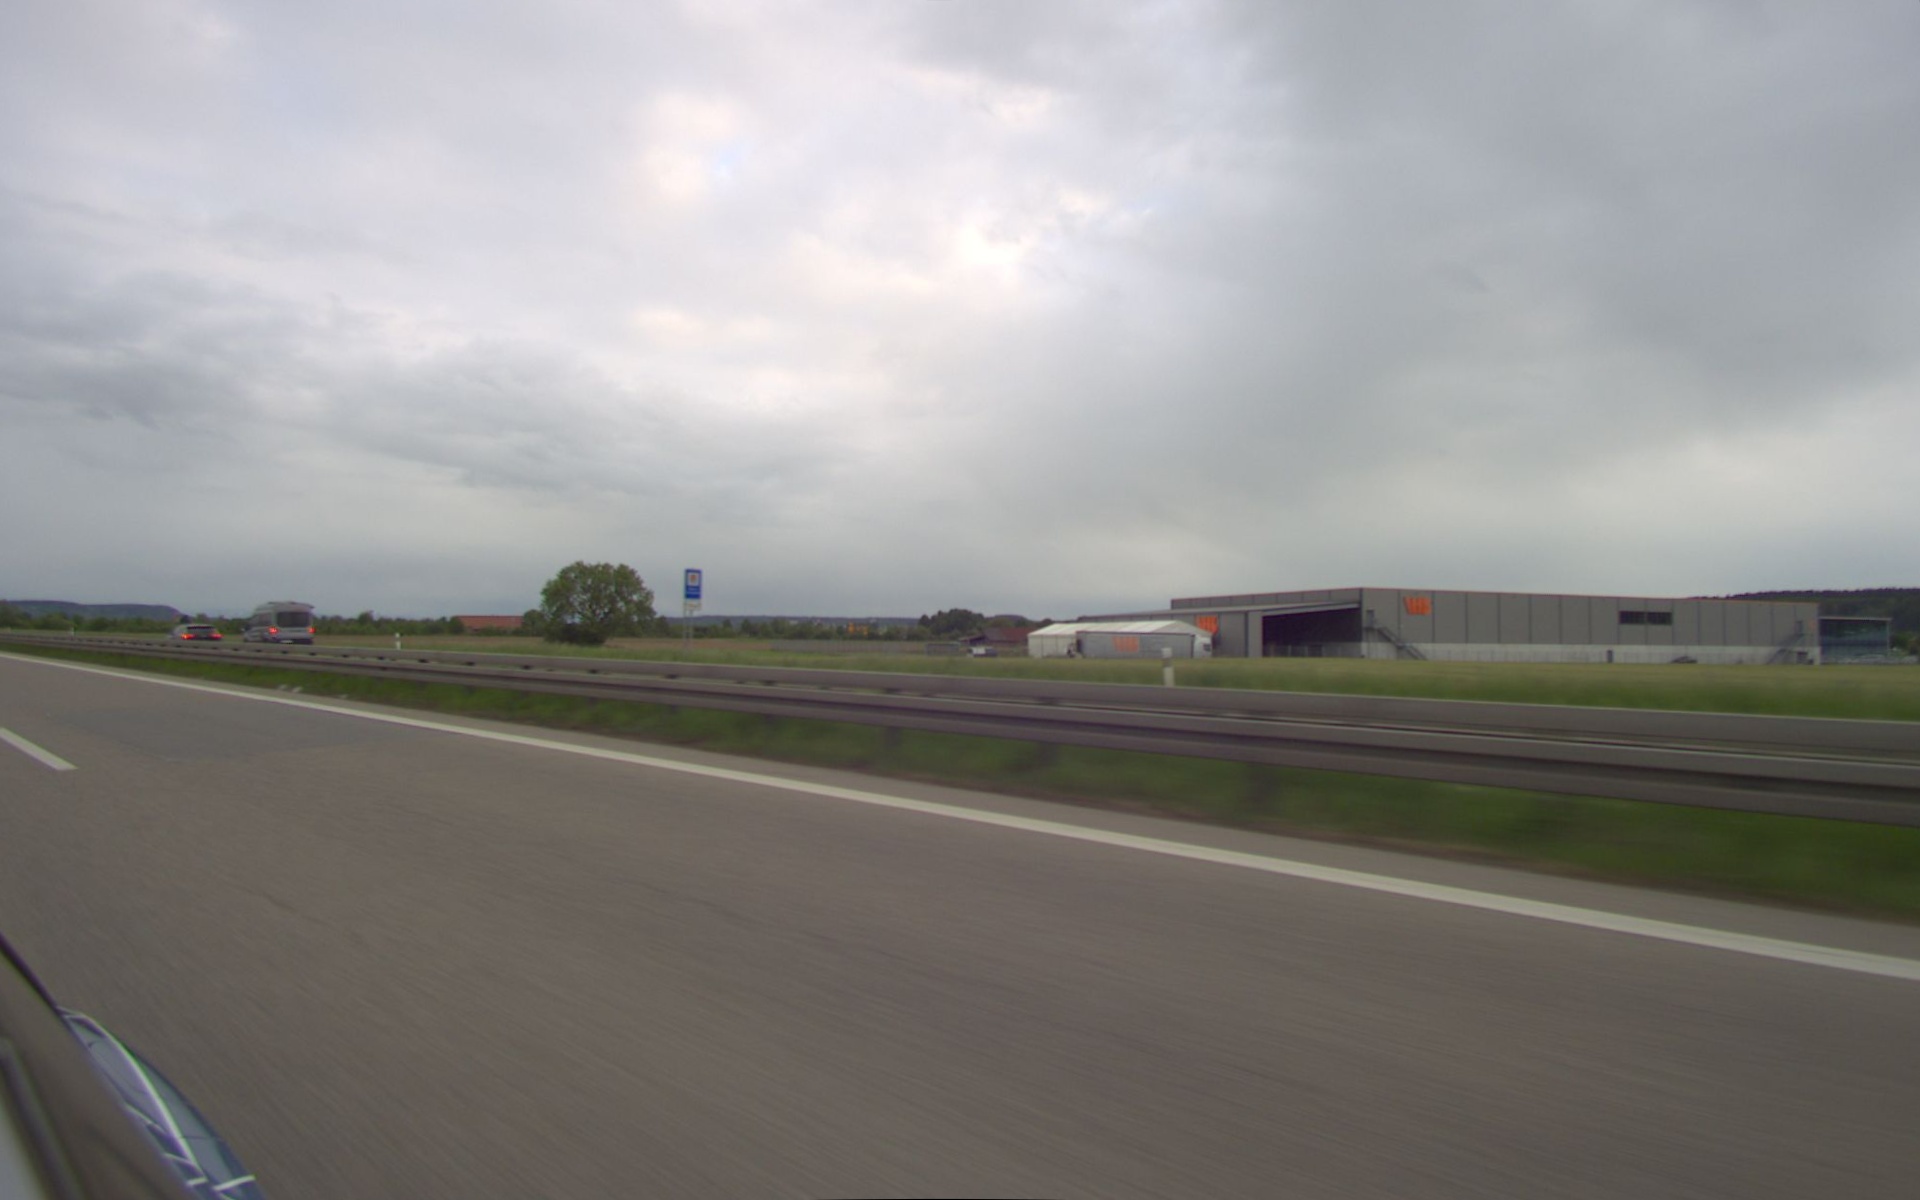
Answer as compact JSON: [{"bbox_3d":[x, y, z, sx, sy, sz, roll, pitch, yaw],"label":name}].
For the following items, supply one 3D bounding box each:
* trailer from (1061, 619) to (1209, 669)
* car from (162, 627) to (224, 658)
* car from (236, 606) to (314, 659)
[{"bbox_3d":[19.744,5.009,113.709,16.739,5.174,3.581,2,-2,-21],"label":"trailer"},{"bbox_3d":[-39.440,2.147,51.986,4.198,1.519,1.729,-2,-1,41],"label":"car"},{"bbox_3d":[-38.252,1.796,56.426,6.424,2.822,2.084,-2,-1,41],"label":"car"}]
